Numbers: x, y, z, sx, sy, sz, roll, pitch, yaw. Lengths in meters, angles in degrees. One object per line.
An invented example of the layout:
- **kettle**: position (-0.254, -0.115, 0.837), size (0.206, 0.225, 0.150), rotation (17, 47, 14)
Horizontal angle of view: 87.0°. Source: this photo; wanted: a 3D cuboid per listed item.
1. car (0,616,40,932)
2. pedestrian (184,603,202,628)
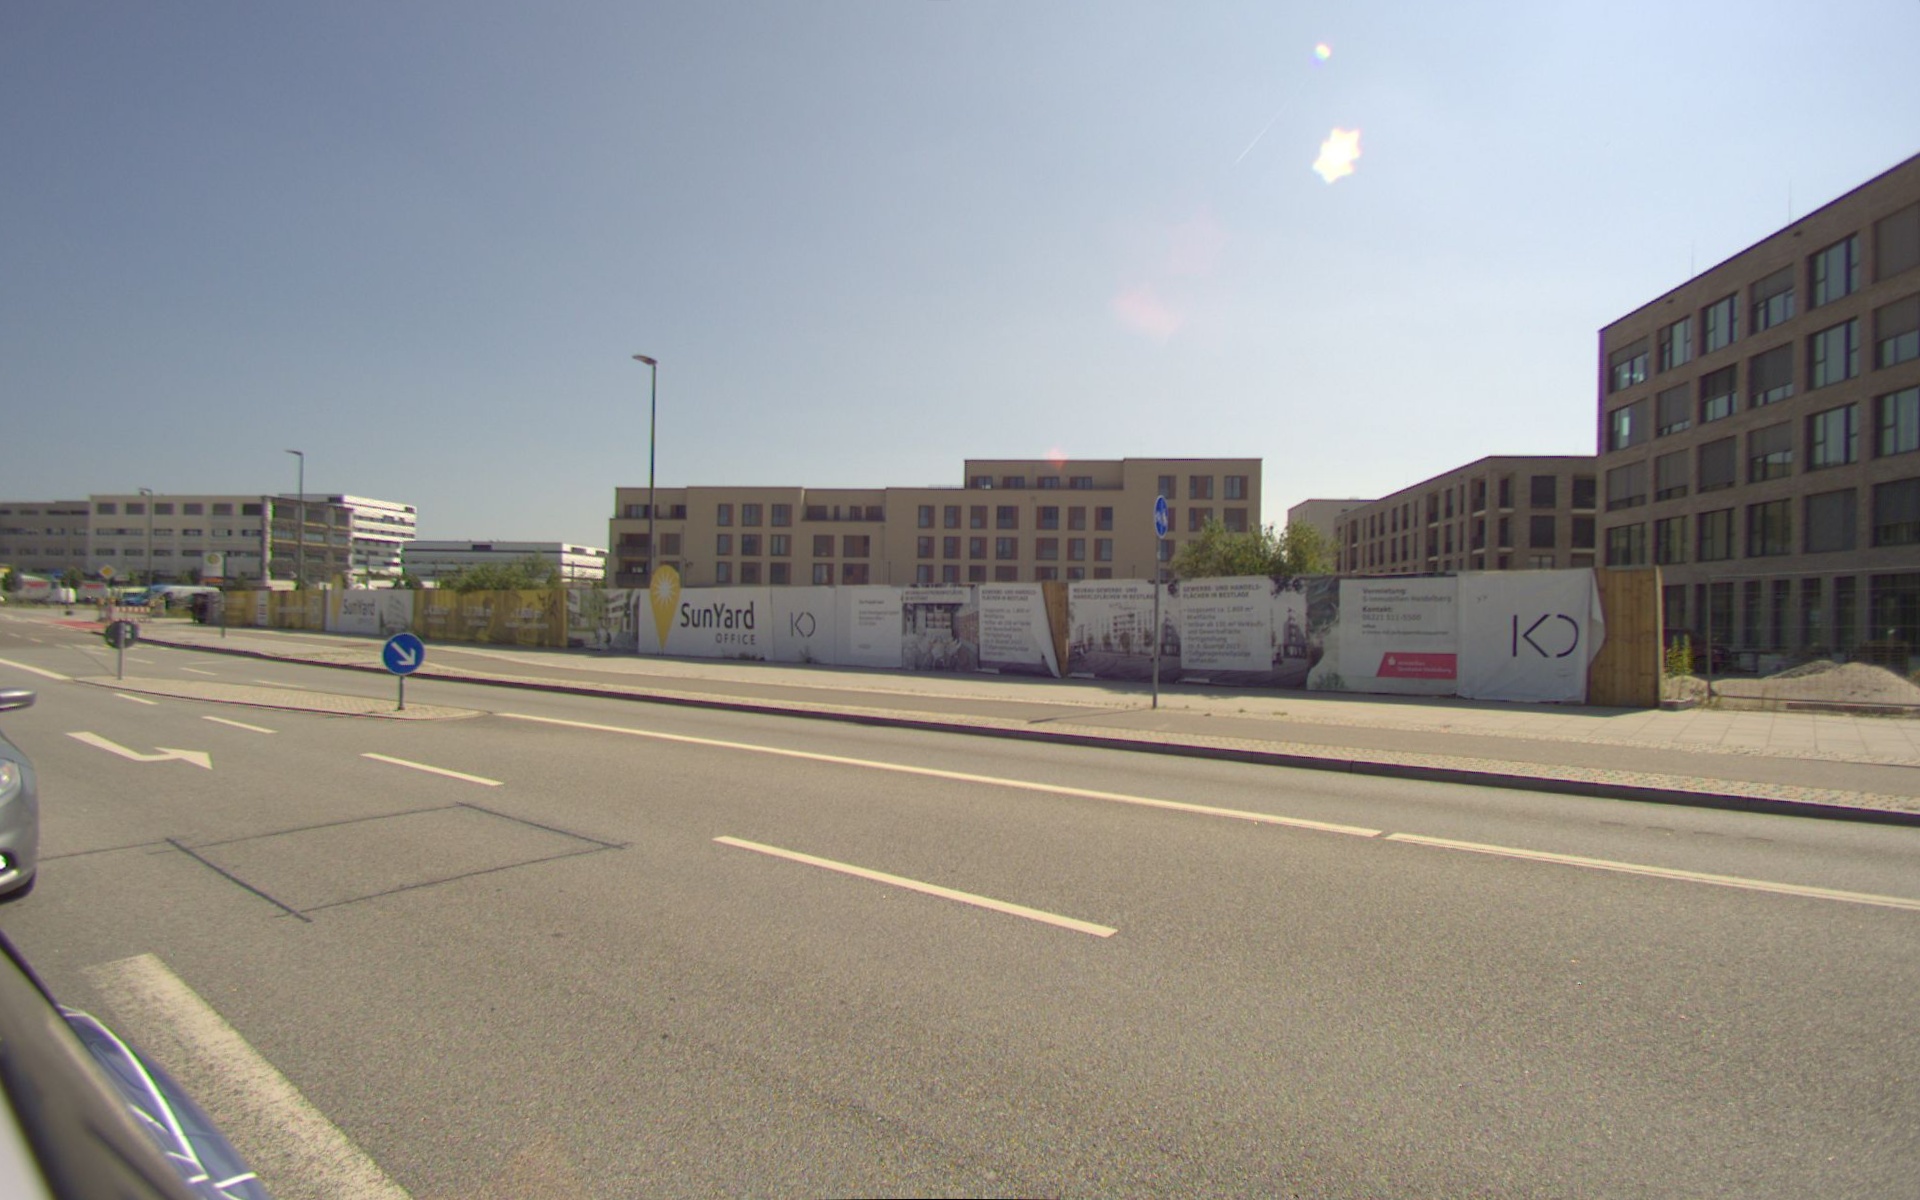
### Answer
- **car**: position (-6.289, 0.798, 5.274), size (4.134, 1.390, 1.762), rotation (-1, 0, 41)
- **pedestrian**: position (-49.015, 0.980, 64.660), size (0.610, 1.598, 0.703), rotation (-1, 0, 5)
